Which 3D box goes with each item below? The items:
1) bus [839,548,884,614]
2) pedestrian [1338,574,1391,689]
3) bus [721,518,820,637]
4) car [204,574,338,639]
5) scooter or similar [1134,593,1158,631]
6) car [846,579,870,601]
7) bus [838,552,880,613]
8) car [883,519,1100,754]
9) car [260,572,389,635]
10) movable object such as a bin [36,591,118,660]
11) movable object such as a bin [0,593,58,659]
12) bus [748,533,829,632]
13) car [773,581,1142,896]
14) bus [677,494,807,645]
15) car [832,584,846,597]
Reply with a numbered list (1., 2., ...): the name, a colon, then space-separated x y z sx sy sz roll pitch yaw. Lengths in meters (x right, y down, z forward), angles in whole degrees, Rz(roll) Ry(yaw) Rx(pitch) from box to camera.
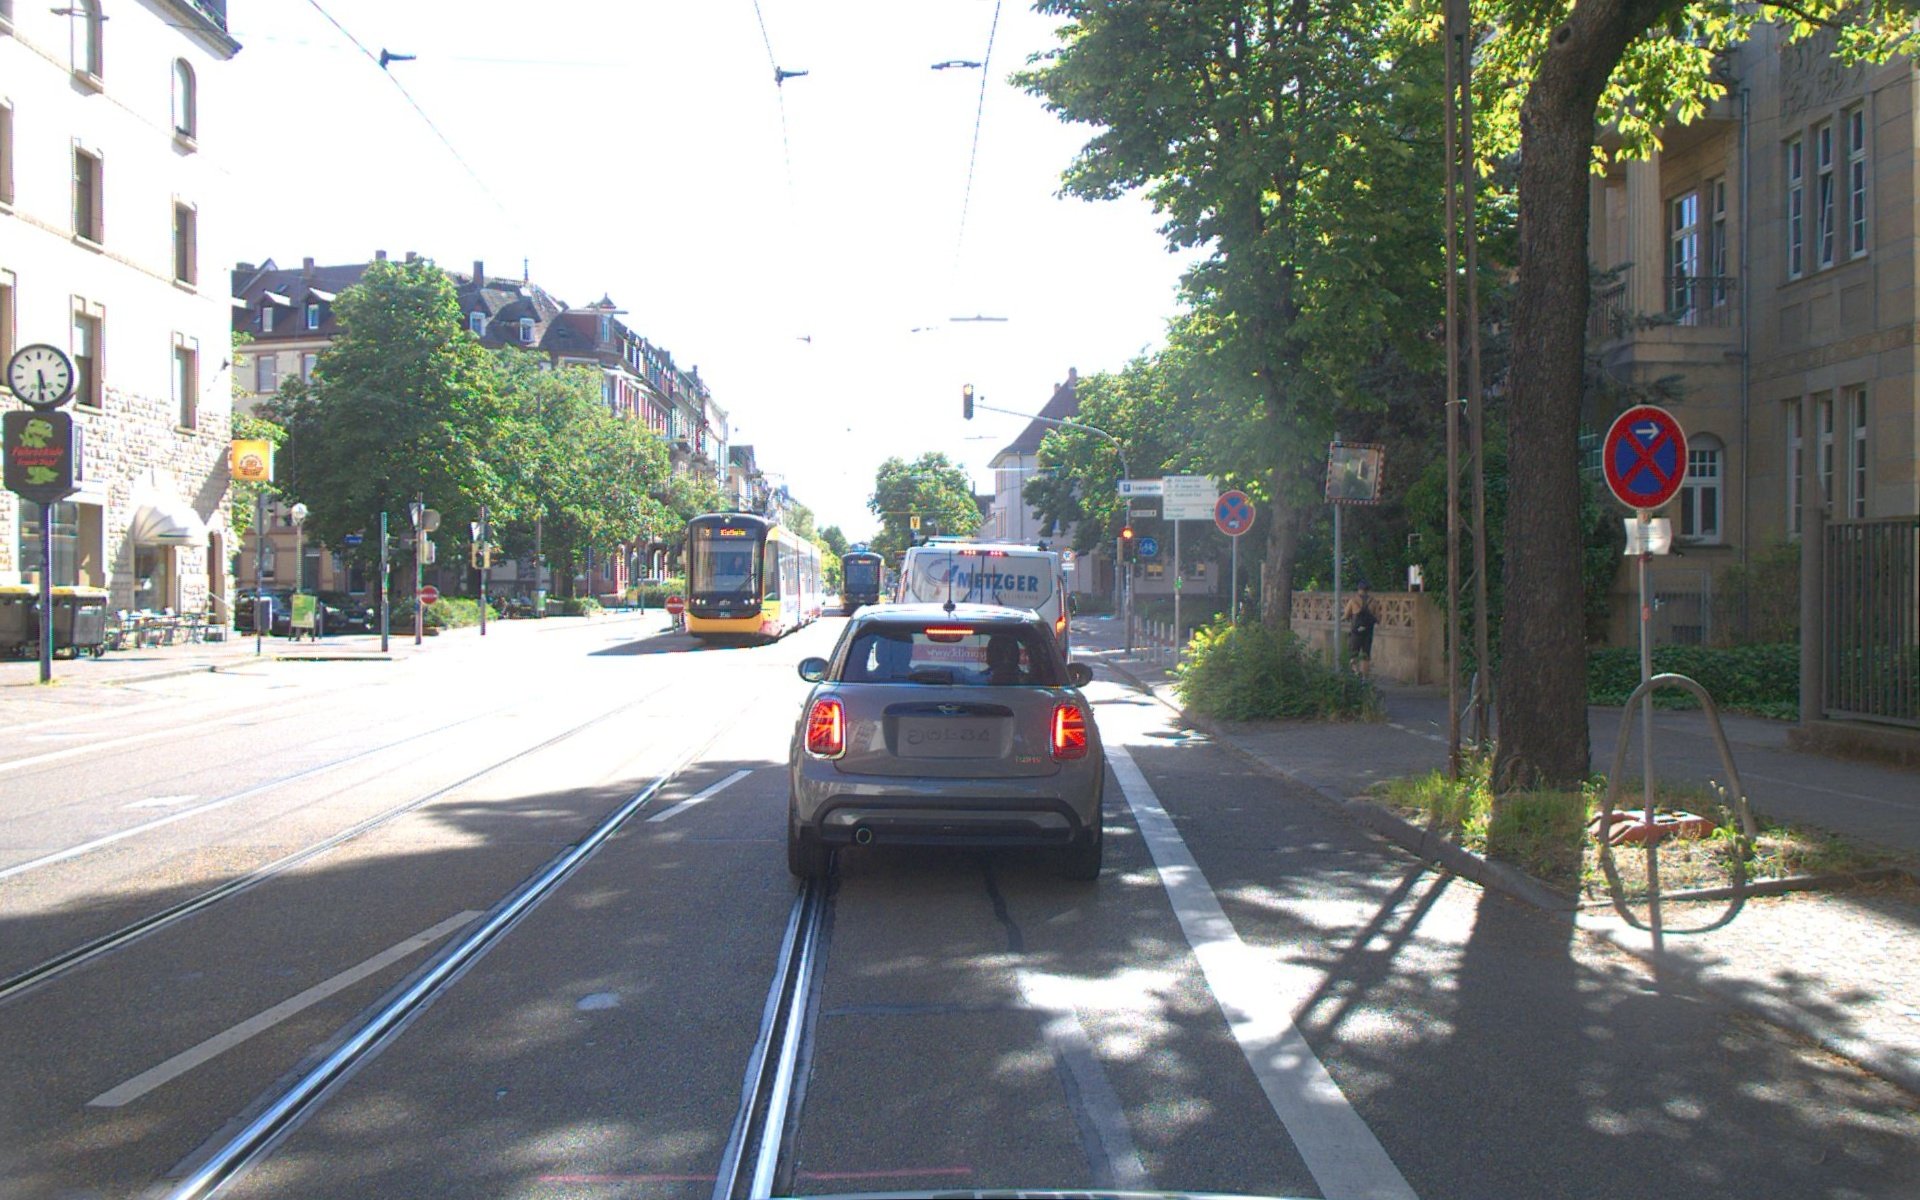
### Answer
1. bus: -5.643 -1.048 93.966 2.339 3.557 7.376 1 0 -5
2. pedestrian: 6.097 0.472 24.962 0.580 1.700 0.646 -2 0 -1
3. bus: -6.664 -0.721 59.626 2.803 3.843 11.176 1 0 -3
4. car: -22.571 0.211 54.191 3.910 2.049 1.997 1 0 28
5. scooter or similar: 6.609 0.424 58.913 0.662 1.333 1.328 1 0 -2
6. car: -7.839 -0.762 127.074 1.827 1.591 3.996 1 0 -4
7. bus: -6.261 -1.041 101.367 2.339 3.557 7.376 1 0 -5
8. car: 0.271 0.363 18.538 2.075 2.247 4.943 1 0 -1
9. car: -21.624 0.104 56.282 3.910 2.049 1.997 1 0 28
10. movable object such as a bin: -17.084 0.488 32.028 0.925 1.296 1.144 1 0 3
11. movable object such as a bin: -17.995 0.487 31.584 0.815 1.244 1.244 1 0 1
12. bus: -7.234 -0.671 71.130 2.793 3.843 12.189 1 0 -3
13. car: -0.038 0.688 10.093 1.778 1.514 3.999 1 0 -1
14. bus: -6.143 -0.760 48.316 2.803 3.843 11.490 1 0 -3
15. car: -16.246 -1.287 222.311 1.741 1.646 3.996 1 0 -4
